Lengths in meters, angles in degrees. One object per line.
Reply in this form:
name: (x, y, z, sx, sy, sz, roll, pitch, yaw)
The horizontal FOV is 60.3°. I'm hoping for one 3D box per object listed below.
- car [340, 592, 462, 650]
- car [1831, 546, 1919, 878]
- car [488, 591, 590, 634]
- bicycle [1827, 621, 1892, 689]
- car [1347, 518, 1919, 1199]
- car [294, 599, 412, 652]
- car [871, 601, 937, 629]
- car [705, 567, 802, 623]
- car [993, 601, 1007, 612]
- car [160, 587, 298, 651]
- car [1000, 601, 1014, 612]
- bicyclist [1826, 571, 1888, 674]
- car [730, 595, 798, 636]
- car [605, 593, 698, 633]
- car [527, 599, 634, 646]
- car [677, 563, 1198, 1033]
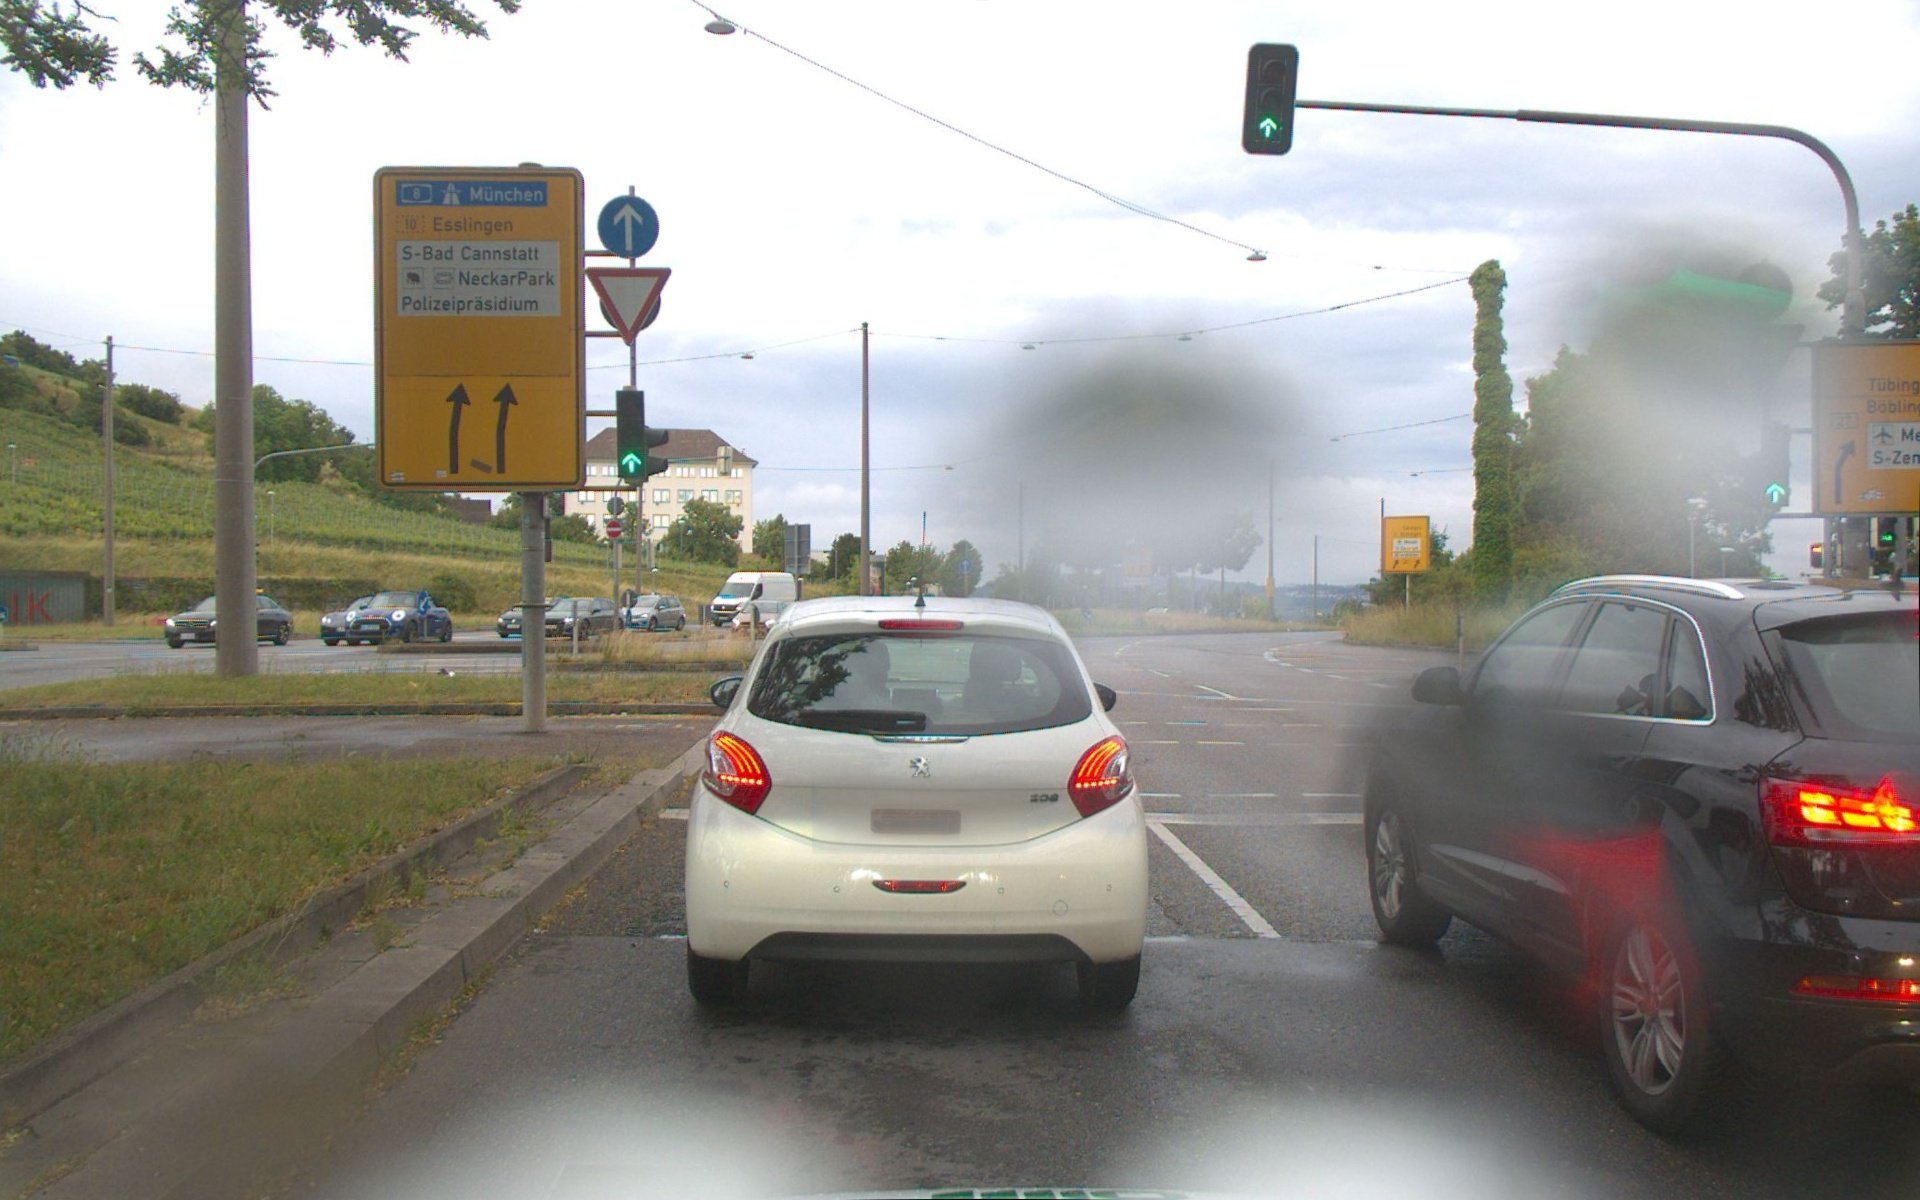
car: (-14.696, 0.575, 43.683, 1.749, 1.420, 3.882, 1, -1, 2)
car: (5.905, 0.609, 7.048, 1.828, 1.703, 4.563, 1, 1, -2)
car: (-15.679, 0.425, 61.859, 1.785, 1.498, 4.672, 0, 1, 13)
bicycle: (14.583, 0.866, 26.863, 0.793, 1.040, 2.326, -1, -1, 26)
car: (2.853, 0.663, 5.906, 1.846, 1.623, 4.112, 2, 0, -2)
car: (-17.766, 0.734, 48.577, 1.749, 1.420, 3.884, 2, 0, 4)
car: (-3.270, 0.883, 97.229, 1.956, 1.539, 4.224, 2, -1, 29)
car: (-10.152, -0.212, 82.093, 1.953, 2.604, 6.168, 2, 0, 22)
car: (5.960, 0.953, 245.349, 1.804, 1.512, 3.997, 0, 0, -3)
car: (-20.551, 0.529, 46.713, 1.792, 1.652, 4.566, 2, 0, 0)
car: (6.730, 0.925, 236.983, 1.804, 1.512, 3.997, 0, 0, -3)
bicyclist: (14.557, 0.362, 26.866, 0.793, 1.611, 1.022, 1, -1, 26)
car: (-7.313, 0.579, 62.054, 1.738, 1.450, 4.376, 0, -1, 4)
car: (-13.336, 0.578, 71.773, 1.953, 1.603, 4.194, 2, 0, 22)
car: (-13.209, 0.788, 57.856, 1.860, 1.515, 4.896, 1, 0, 10)
car: (-0.126, 0.659, 7.399, 1.683, 1.515, 3.998, 1, 0, -2)
